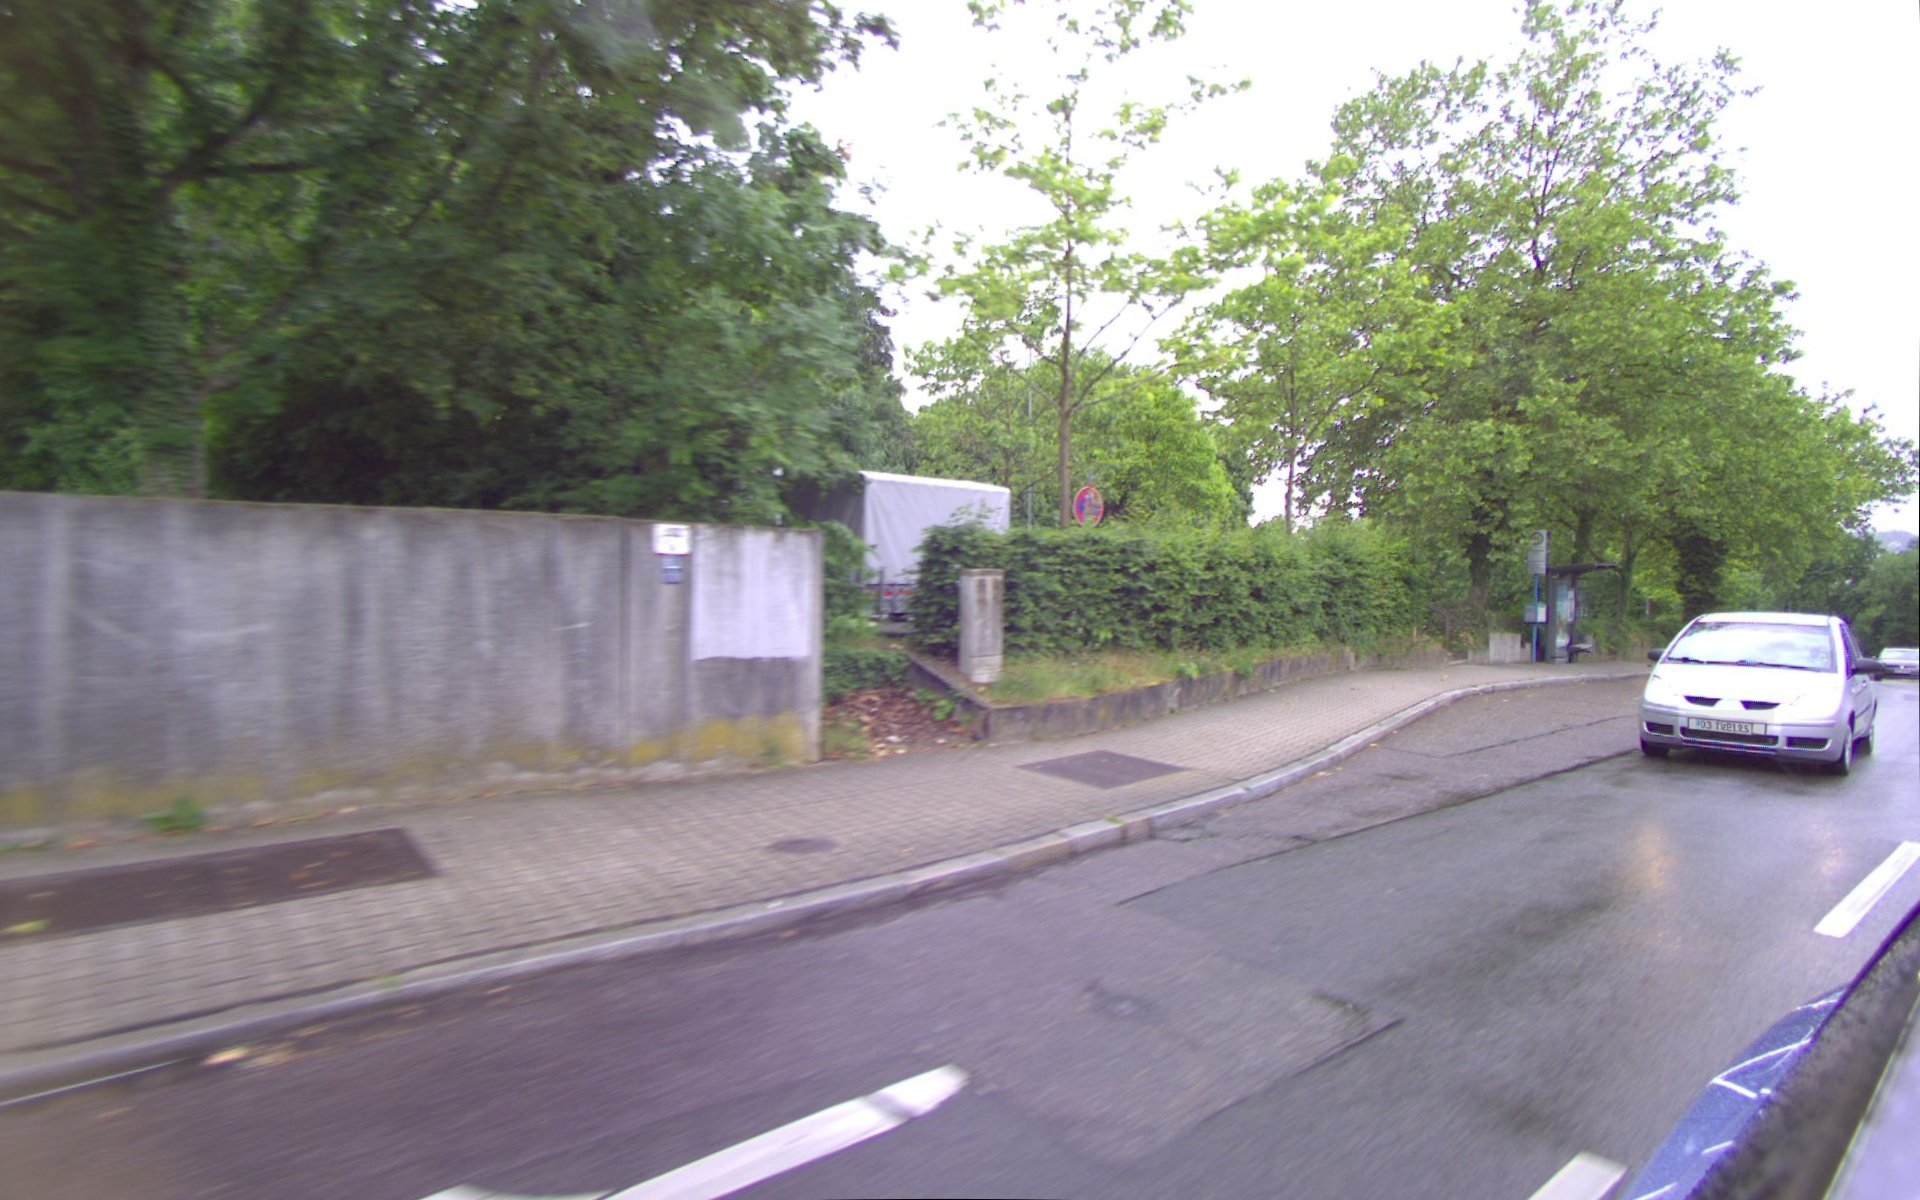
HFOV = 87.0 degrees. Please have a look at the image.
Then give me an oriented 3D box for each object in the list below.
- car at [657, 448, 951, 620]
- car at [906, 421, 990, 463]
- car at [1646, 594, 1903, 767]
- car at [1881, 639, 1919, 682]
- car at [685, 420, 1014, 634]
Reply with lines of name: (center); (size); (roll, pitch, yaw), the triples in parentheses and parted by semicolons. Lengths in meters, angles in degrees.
car: (-2.456, -0.935, 17.292); (2.038, 2.314, 4.952); (0, -3, 35)
car: (-0.610, -8.387, 53.886); (4.120, 1.793, 1.794); (1, -3, 16)
car: (8.867, 0.757, 10.908); (3.932, 1.524, 1.637); (2, -2, -43)
car: (40.309, 2.587, 42.468); (3.930, 1.723, 2.033); (4, -4, -42)
car: (-1.301, -0.770, 13.432); (1.990, 2.255, 4.074); (1, -3, 38)
